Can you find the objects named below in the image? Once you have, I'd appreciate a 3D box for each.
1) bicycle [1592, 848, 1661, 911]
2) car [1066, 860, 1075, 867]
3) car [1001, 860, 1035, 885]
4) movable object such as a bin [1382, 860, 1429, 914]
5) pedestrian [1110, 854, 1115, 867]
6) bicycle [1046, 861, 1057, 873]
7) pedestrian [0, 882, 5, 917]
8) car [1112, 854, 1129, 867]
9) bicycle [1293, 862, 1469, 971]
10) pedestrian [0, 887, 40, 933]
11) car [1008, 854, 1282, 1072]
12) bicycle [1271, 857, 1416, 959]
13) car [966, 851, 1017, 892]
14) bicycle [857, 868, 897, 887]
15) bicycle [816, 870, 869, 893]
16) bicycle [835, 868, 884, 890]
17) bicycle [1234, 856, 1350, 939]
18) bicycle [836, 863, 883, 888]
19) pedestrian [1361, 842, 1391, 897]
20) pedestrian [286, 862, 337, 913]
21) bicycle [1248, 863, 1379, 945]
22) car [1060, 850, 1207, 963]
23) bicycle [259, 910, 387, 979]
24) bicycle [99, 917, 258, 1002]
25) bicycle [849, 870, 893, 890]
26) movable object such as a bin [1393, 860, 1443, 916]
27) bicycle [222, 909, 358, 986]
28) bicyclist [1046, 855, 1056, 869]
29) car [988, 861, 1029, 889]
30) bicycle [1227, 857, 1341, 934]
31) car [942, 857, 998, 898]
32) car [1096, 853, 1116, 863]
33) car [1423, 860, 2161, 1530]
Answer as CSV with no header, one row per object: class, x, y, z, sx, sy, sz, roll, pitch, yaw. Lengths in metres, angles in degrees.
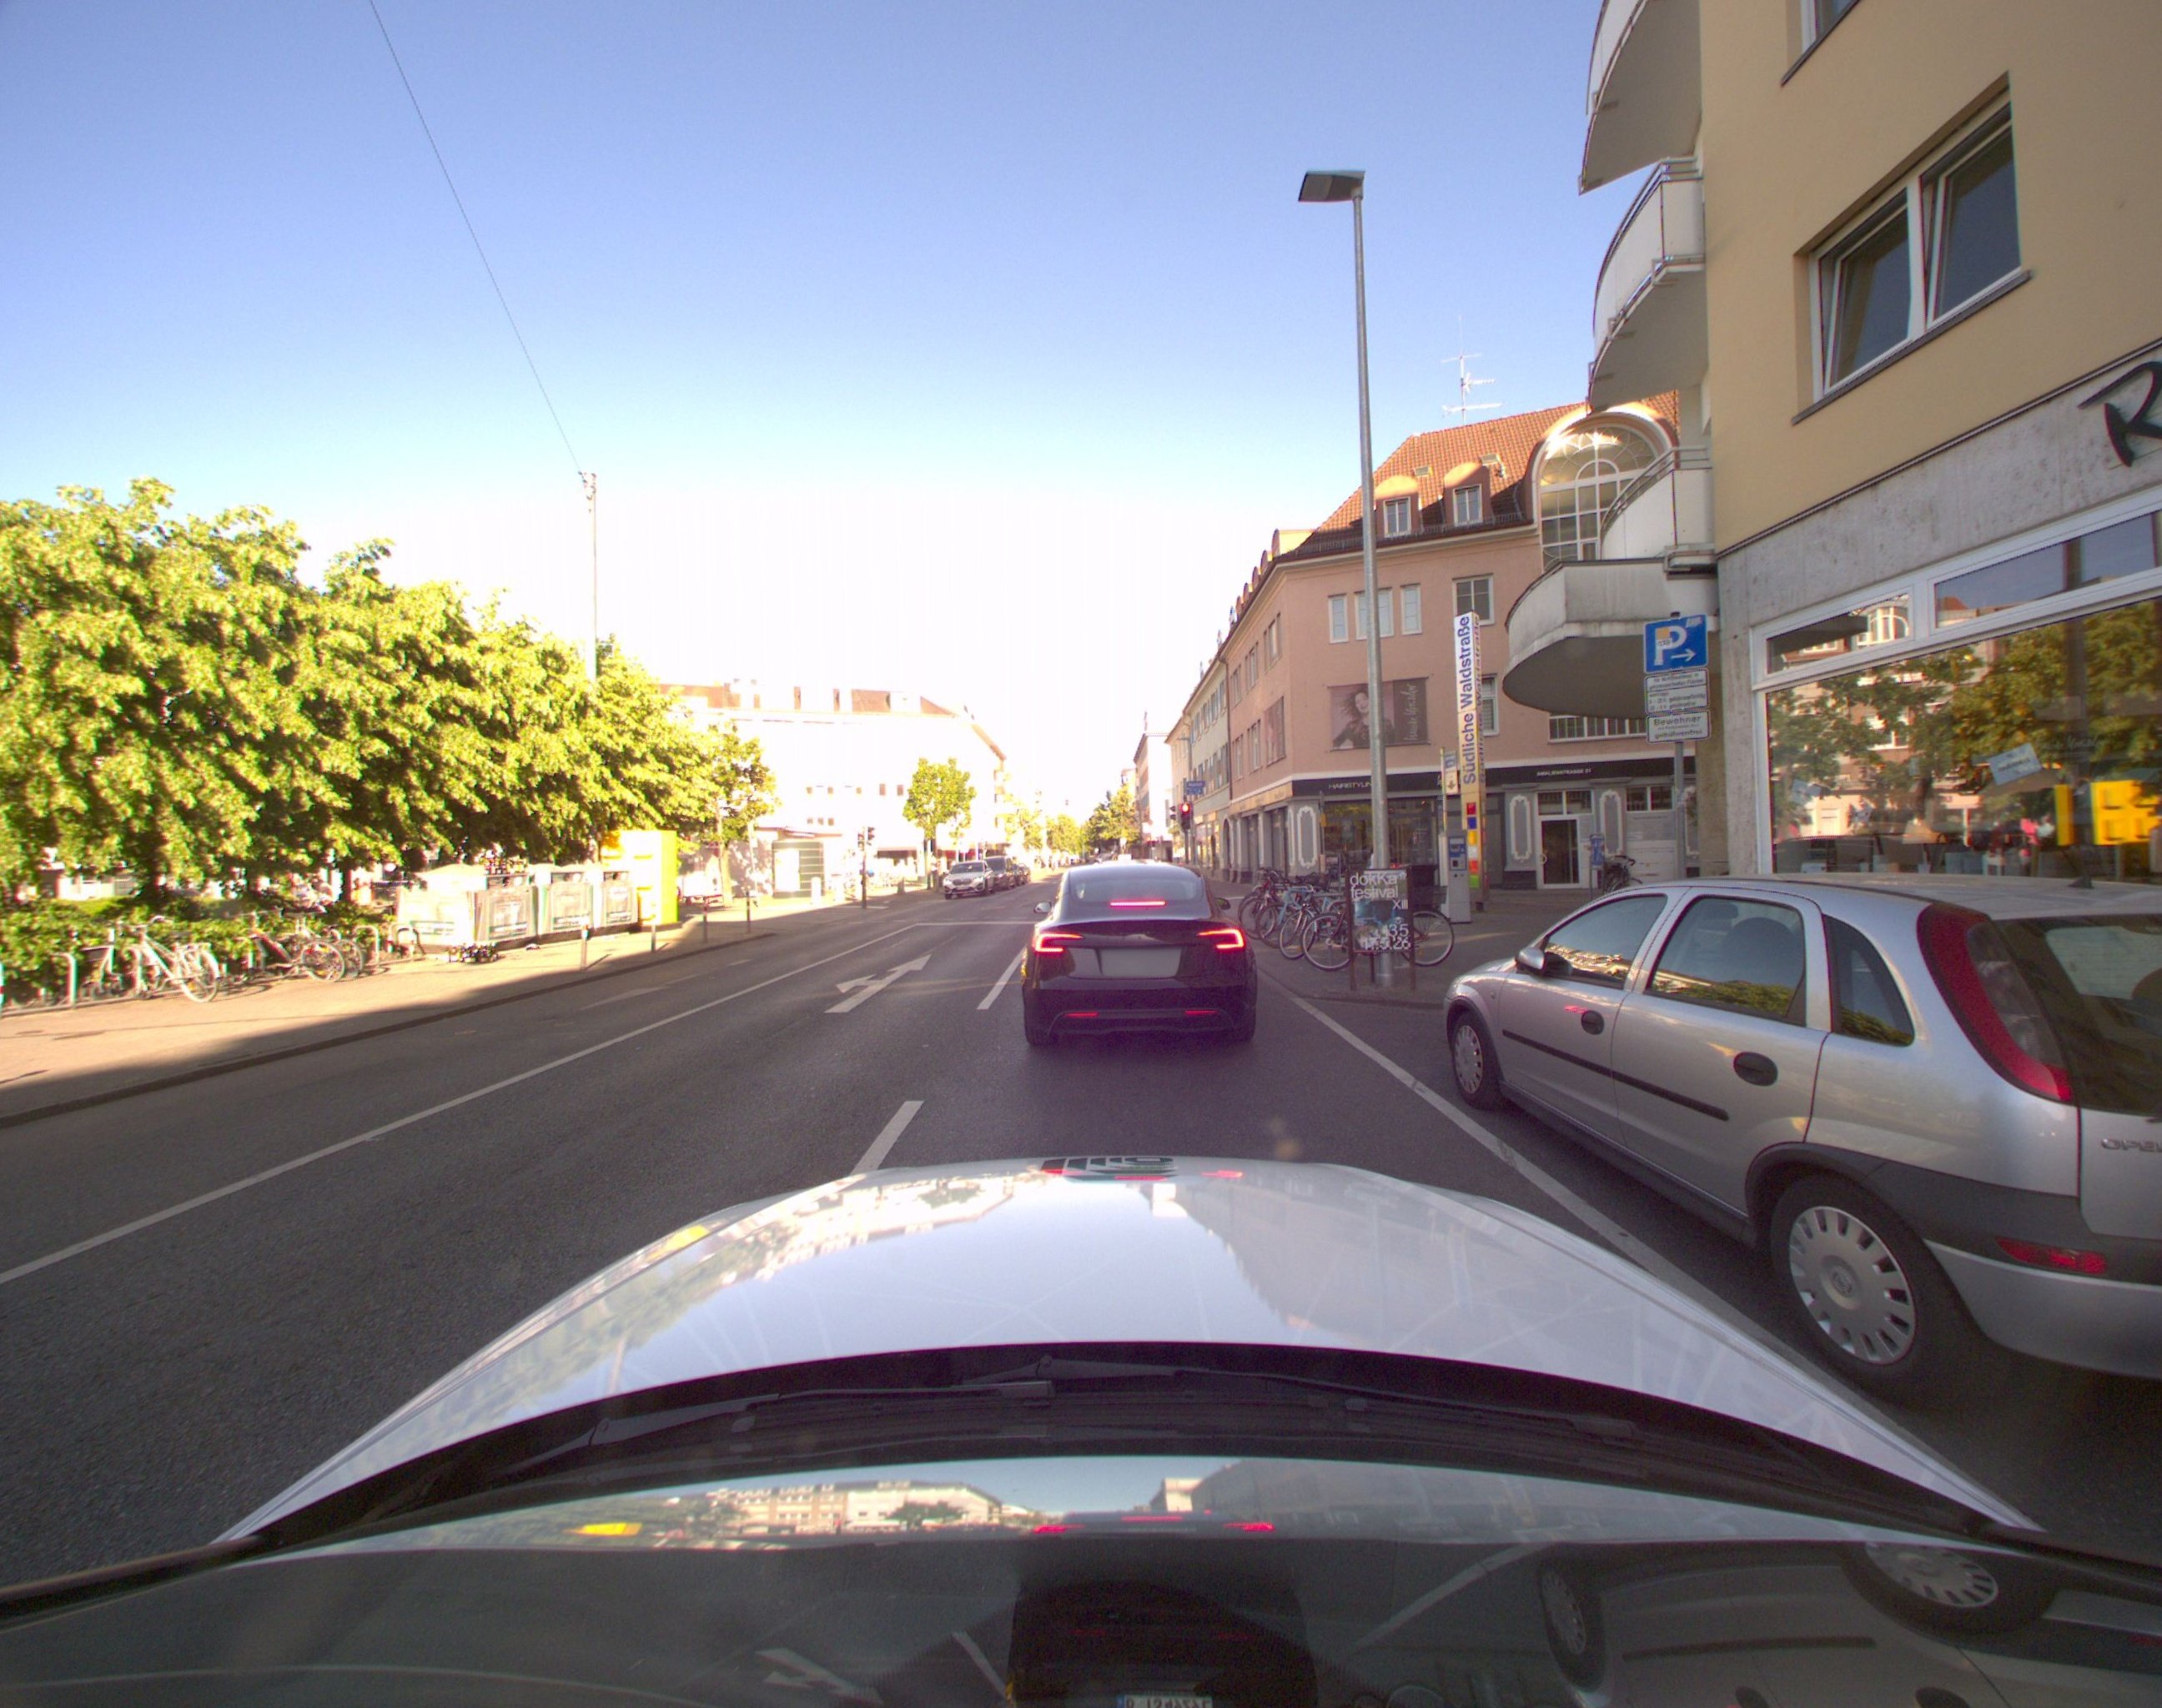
bicycle,11.141,0.491,16.694,0.653,1.199,2.223,-2,0,21
car,-2.479,2.170,187.365,1.988,1.637,3.998,-1,0,-1
car,-4.388,1.259,57.272,1.988,1.436,4.672,-5,0,-1
movable object such as a bin,6.756,0.676,16.975,0.730,1.092,0.628,0,-1,3
pedestrian,4.645,0.947,119.071,0.639,2.014,0.690,-1,-1,-4
bicycle,-3.473,1.546,95.783,1.108,1.344,3.998,-1,0,-1
pedestrian,-62.446,2.624,46.400,1.272,2.013,0.908,-1,0,13
car,4.880,0.795,100.770,1.986,1.629,4.002,-1,0,2
bicycle,3.642,0.751,10.012,1.876,1.193,0.693,-3,0,7
pedestrian,-47.854,2.494,36.634,0.982,2.014,0.908,-2,-1,15
car,0.503,0.762,7.600,1.841,1.455,4.001,-1,0,2
bicycle,3.546,0.725,11.147,1.713,1.268,0.792,-3,-1,7
car,-4.634,0.867,42.856,1.827,1.845,4.677,-5,0,2
bicycle,-13.168,1.516,52.623,2.318,1.156,0.841,-1,0,-4
bicycle,-12.577,1.438,43.015,2.497,1.156,0.843,-1,0,0
bicycle,-12.371,1.366,45.545,2.453,1.156,0.843,-1,0,0
bicycle,3.511,0.710,13.680,1.738,1.267,0.782,-3,-1,4
bicycle,-12.901,1.245,47.492,2.472,1.324,0.921,-1,0,-4
pedestrian,8.596,0.445,23.735,0.740,1.552,0.703,-1,0,22
pedestrian,-31.461,1.364,33.302,1.388,2.014,0.908,-1,0,14
bicycle,3.526,0.753,12.500,1.788,1.124,0.783,-3,-1,7
car,0.744,0.723,13.308,1.987,1.512,4.175,-1,0,0
bicycle,-11.335,1.353,12.195,1.517,0.958,0.431,-1,1,3
bicycle,-11.450,1.327,10.345,1.590,1.018,0.430,-1,0,3
bicycle,-12.945,1.572,50.250,2.528,1.156,0.841,-1,0,-4
movable object such as a bin,6.748,0.671,16.338,0.749,1.092,0.628,0,-1,3
bicycle,-11.314,1.331,11.665,1.561,1.023,0.430,-1,0,3
bicyclist,-3.499,0.930,95.879,1.123,1.628,0.965,-1,0,-1
car,-4.358,1.234,49.675,1.988,1.410,4.672,-5,0,-1
bicycle,3.626,0.739,14.709,1.851,1.258,0.834,-3,-1,7
car,-4.885,0.987,36.409,1.802,1.555,4.308,-5,0,-1
car,5.127,0.857,167.669,3.974,2.013,2.000,-1,0,0
car,2.974,0.730,3.518,1.607,1.382,3.645,0,0,2
